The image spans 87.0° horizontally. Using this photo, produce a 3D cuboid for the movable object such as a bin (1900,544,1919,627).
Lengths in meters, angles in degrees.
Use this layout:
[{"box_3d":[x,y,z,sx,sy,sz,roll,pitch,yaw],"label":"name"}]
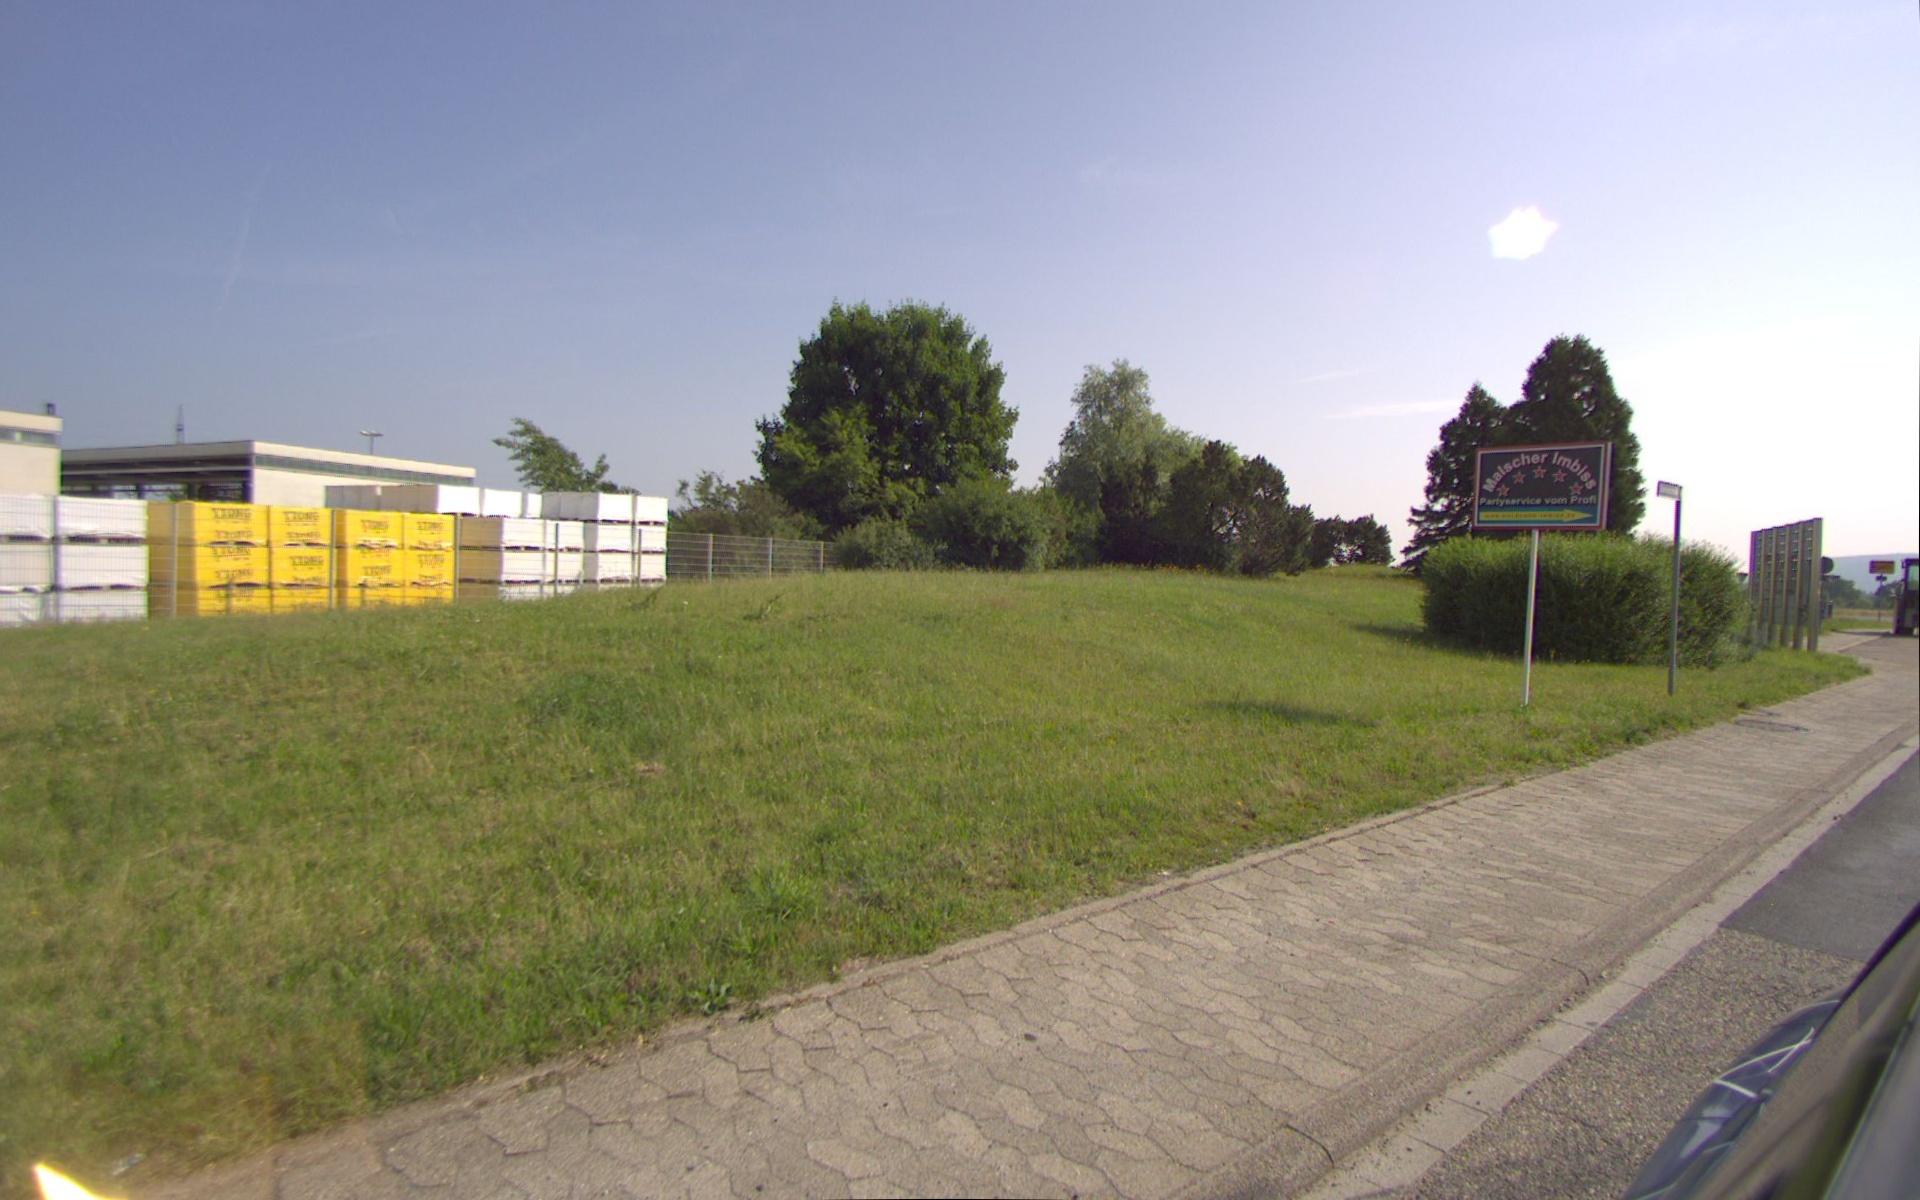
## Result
[{"box_3d":[38.027,-0.481,38.939,2.427,3.048,5.667,5,3,41],"label":"movable object such as a bin"}]
